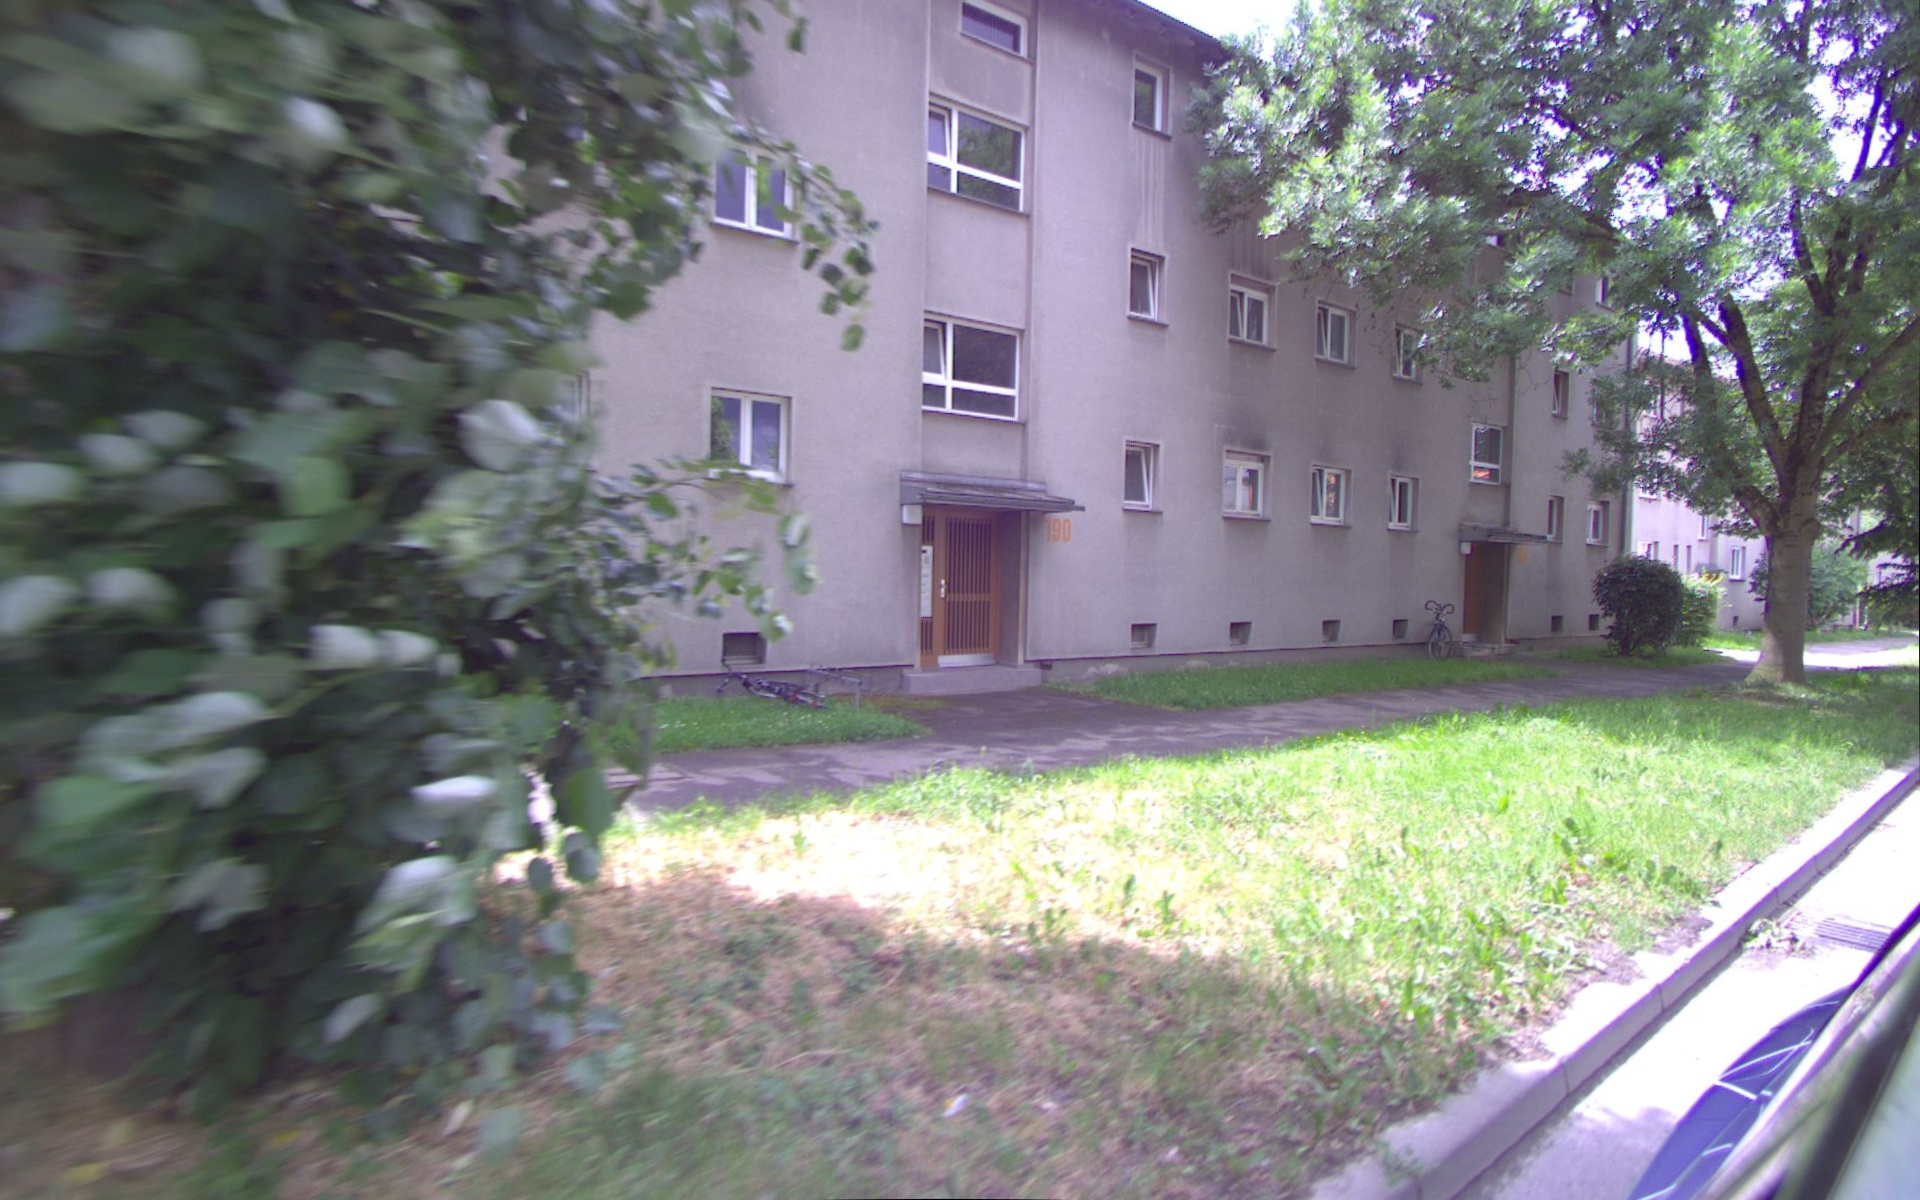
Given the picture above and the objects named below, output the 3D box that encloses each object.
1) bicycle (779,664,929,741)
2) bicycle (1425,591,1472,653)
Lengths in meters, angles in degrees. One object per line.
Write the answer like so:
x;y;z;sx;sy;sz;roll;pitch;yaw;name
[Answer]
-1.113;0.974;10.041;0.659;0.514;2.214;0;1;-30;bicycle
9.081;0.387;18.841;0.430;1.094;1.747;0;0;14;bicycle
